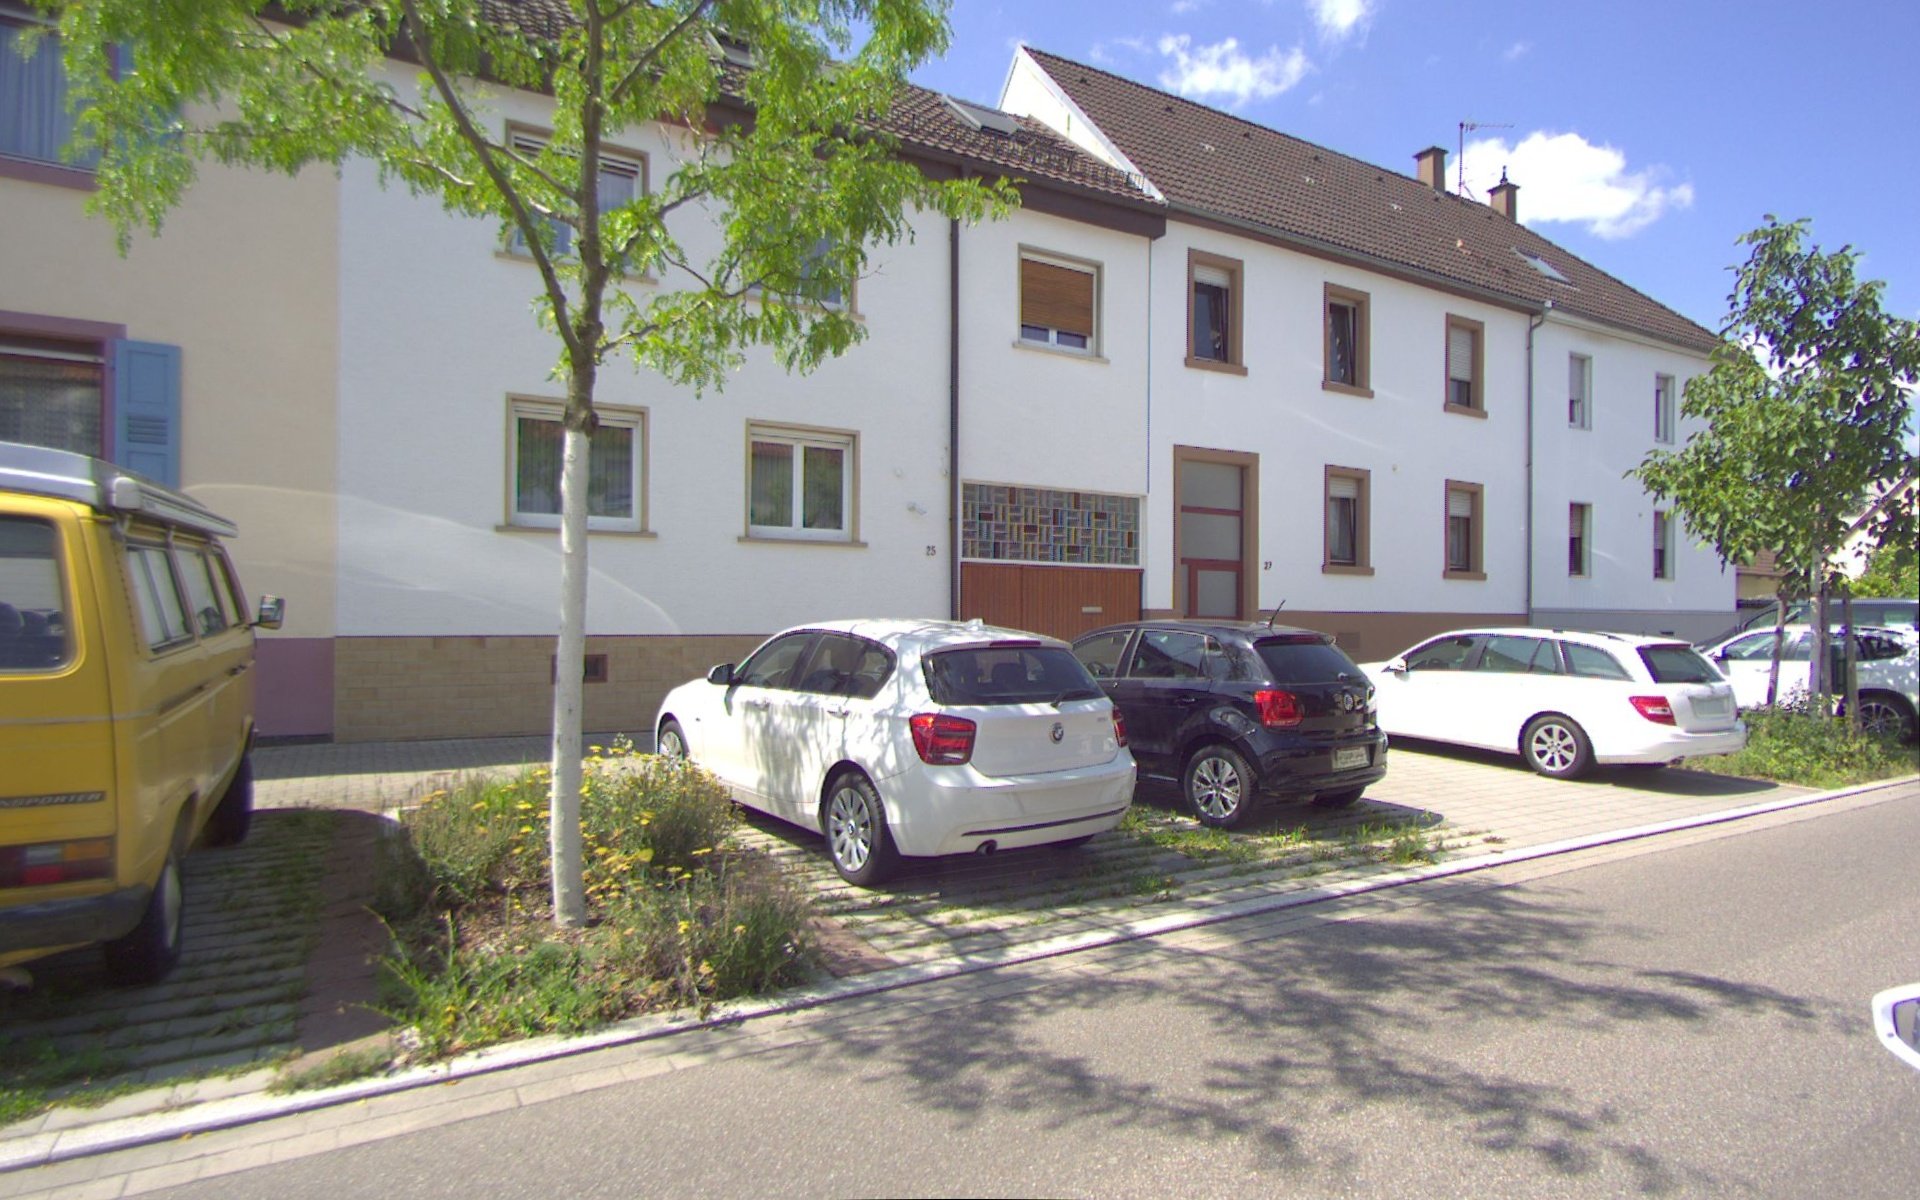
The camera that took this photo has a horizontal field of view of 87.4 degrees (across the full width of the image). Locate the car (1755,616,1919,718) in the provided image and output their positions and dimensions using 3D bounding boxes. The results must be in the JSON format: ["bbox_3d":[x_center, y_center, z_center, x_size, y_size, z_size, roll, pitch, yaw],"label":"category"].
[{"bbox_3d":[16.875,1.199,17.680,1.752,1.641,4.154,2,0,-30],"label":"car"}]

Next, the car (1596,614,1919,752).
[{"bbox_3d":[11.850,1.098,14.477,1.756,1.589,4.157,2,0,-34],"label":"car"}]

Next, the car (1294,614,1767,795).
[{"bbox_3d":[5.987,0.975,11.138,1.752,1.487,4.276,2,0,-29],"label":"car"}]

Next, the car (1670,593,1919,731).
[{"bbox_3d":[14.285,0.940,15.820,1.915,1.949,4.676,2,0,-30],"label":"car"}]

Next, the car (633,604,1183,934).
[{"bbox_3d":[-0.642,0.827,6.897,1.738,1.487,4.039,1,0,-38],"label":"car"}]

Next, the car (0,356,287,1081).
[{"bbox_3d":[-4.503,0.322,4.711,1.903,2.206,4.486,1,0,-30],"label":"car"}]

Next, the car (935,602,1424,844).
[{"bbox_3d":[1.618,0.826,8.504,1.645,1.487,3.848,2,0,-38],"label":"car"}]
